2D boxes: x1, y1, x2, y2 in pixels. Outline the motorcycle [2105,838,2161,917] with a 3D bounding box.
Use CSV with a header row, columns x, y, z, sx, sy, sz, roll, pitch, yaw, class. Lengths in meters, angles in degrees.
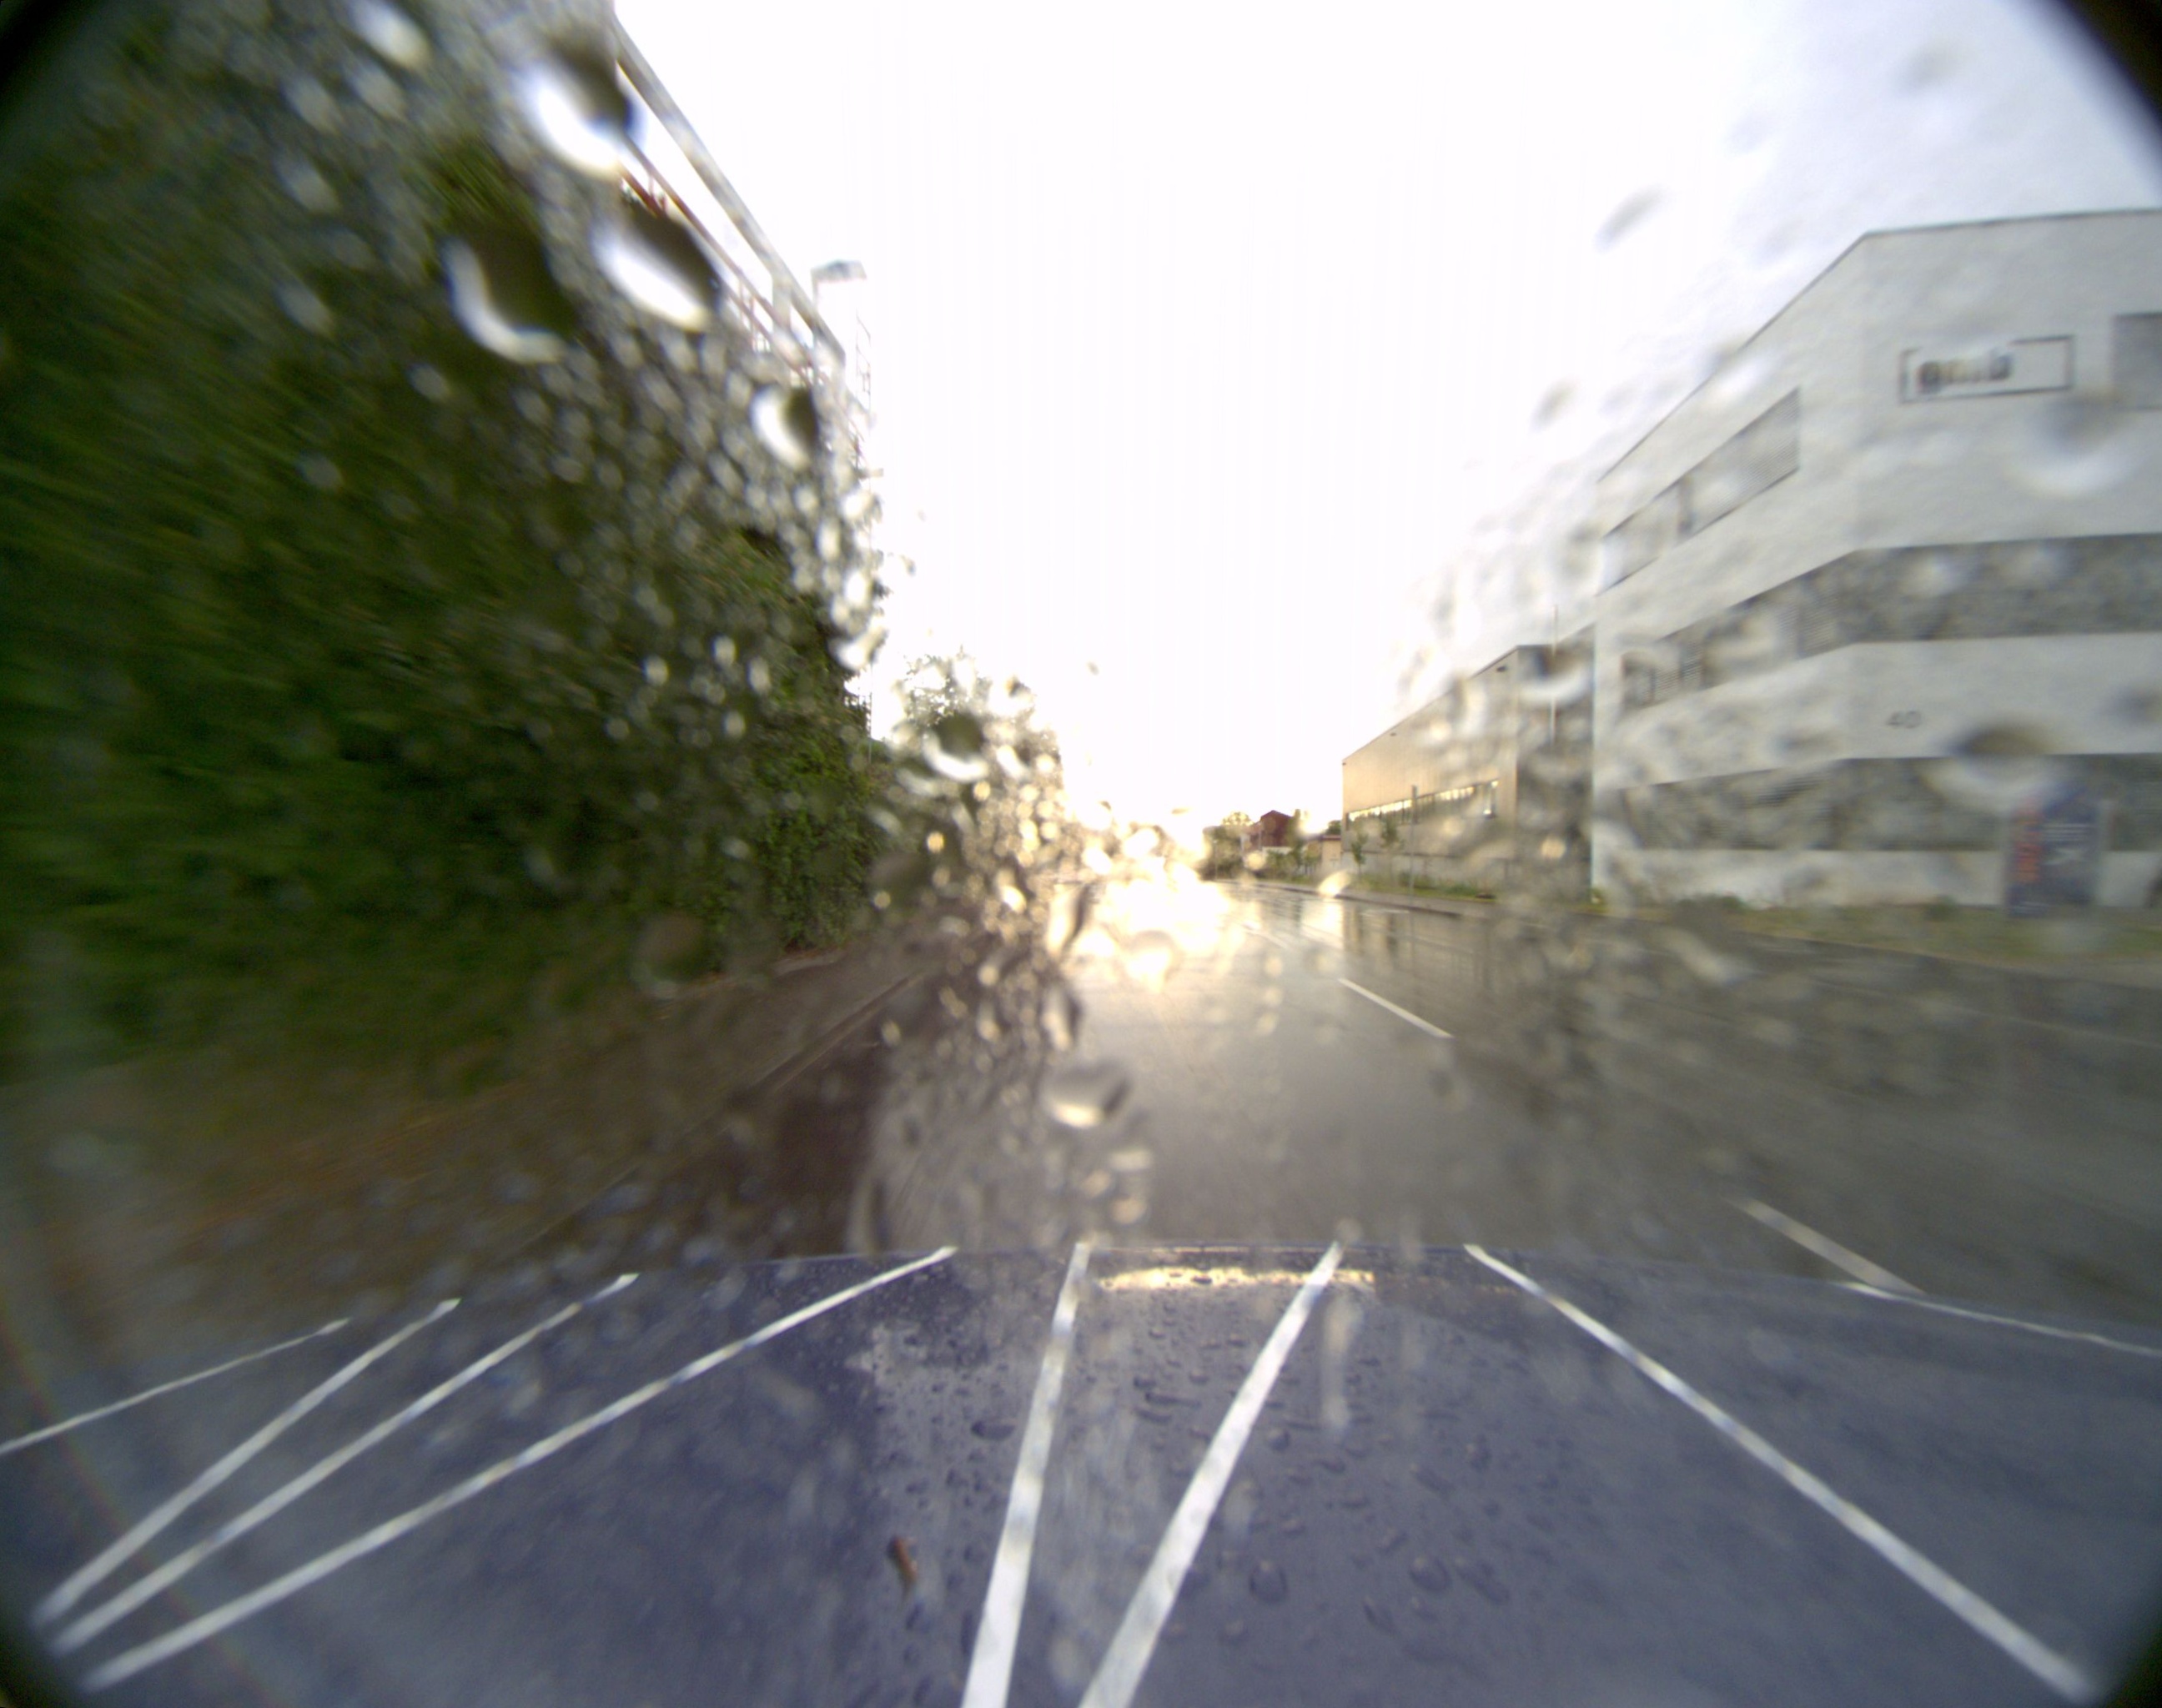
x,y,z,sx,sy,sz,roll,pitch,yaw,class
18.958,0.331,12.055,3.691,1.237,0.778,-1,1,10,motorcycle
